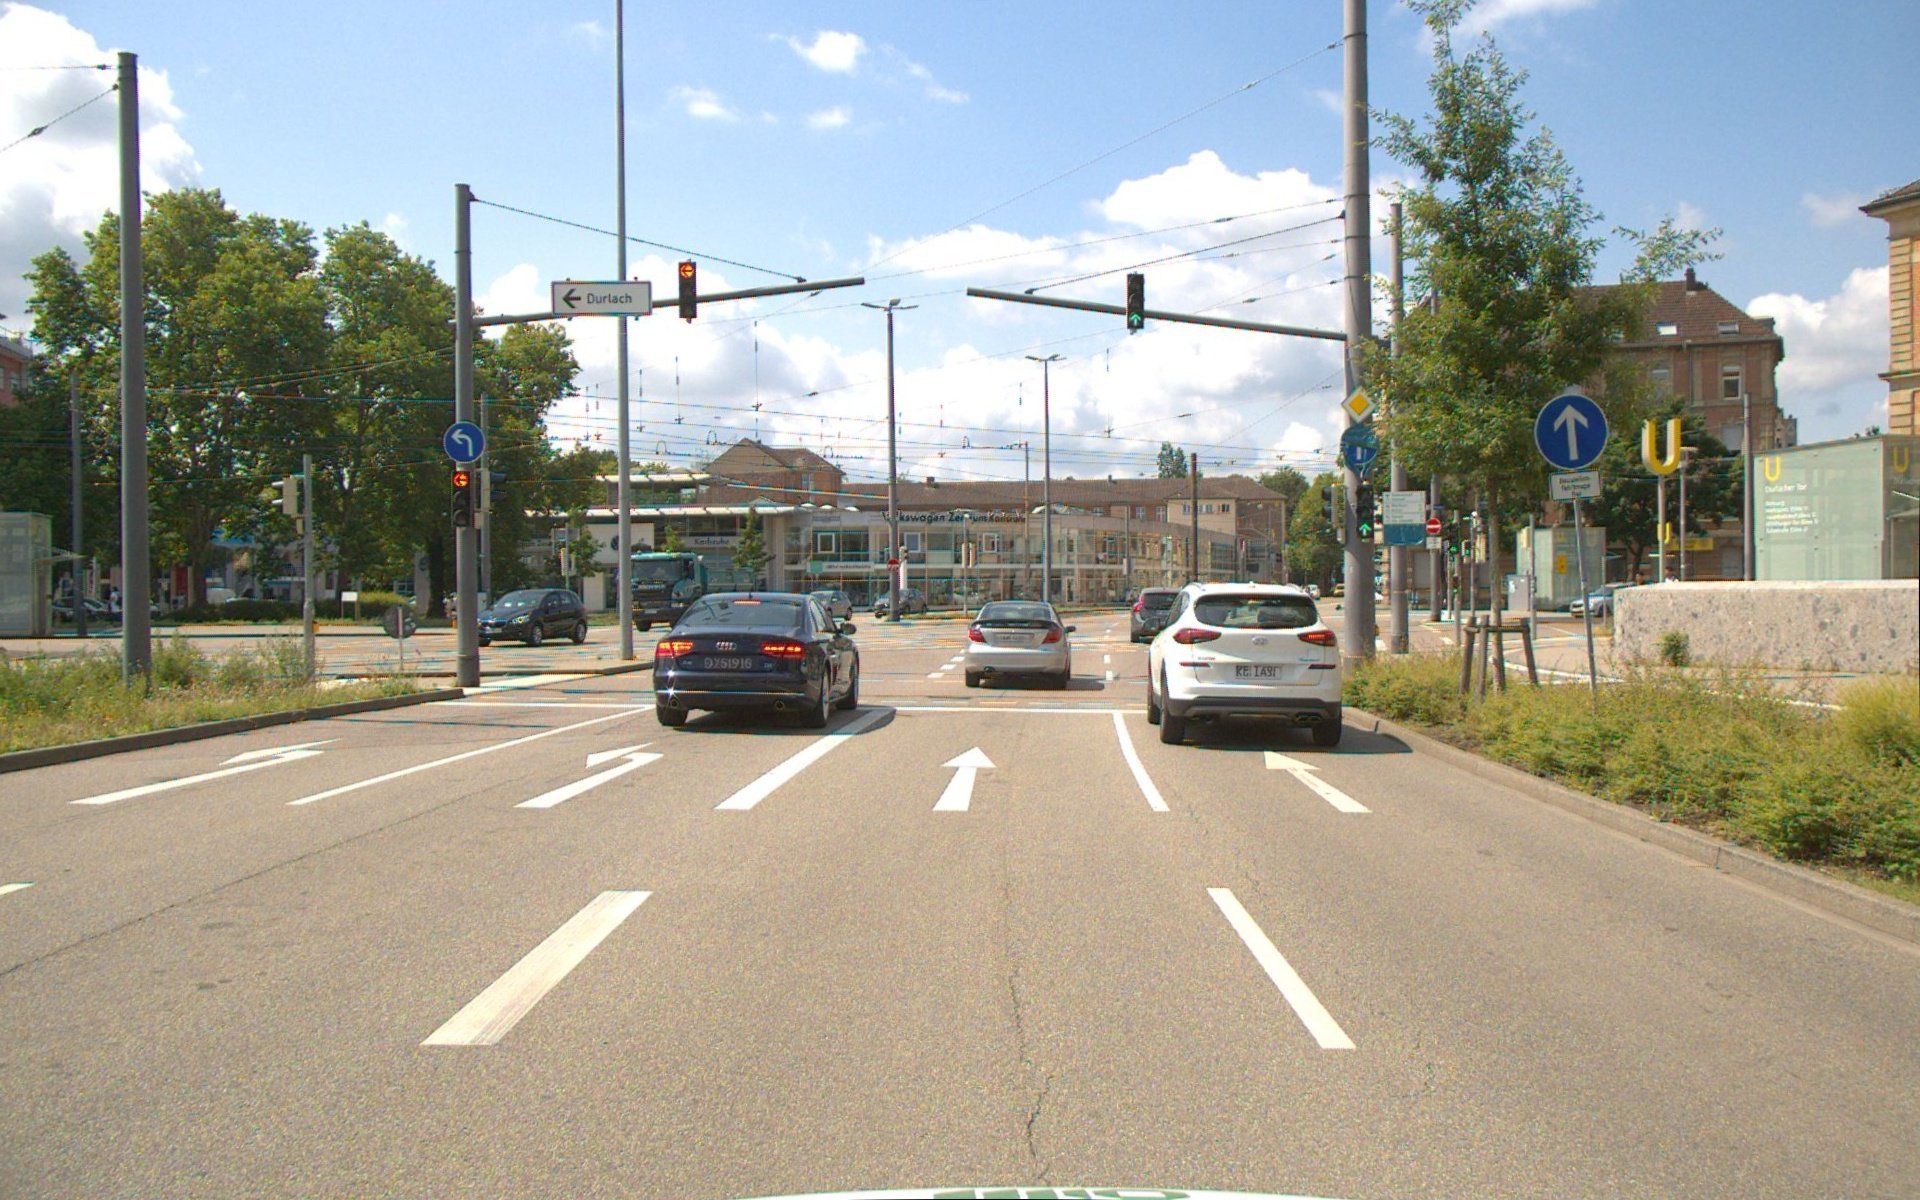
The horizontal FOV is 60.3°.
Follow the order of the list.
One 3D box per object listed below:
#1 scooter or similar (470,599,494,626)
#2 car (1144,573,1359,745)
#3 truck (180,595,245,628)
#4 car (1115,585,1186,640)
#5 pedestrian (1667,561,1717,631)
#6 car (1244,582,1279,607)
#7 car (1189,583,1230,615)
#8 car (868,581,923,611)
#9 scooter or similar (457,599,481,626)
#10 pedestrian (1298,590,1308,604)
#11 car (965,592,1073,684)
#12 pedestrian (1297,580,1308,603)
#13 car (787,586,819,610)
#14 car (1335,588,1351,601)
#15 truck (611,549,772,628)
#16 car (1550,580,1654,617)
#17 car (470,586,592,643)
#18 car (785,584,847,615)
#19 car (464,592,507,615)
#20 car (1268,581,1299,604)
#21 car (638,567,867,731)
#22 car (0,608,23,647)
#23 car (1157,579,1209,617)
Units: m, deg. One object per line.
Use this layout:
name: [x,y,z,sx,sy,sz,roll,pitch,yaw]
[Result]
scooter or similar: [-20.479,0.543,70.891,0.370,1.135,1.095,0,-1,20]
car: [3.087,0.559,18.302,1.842,1.670,4.234,0,0,3]
truck: [-50.253,0.734,111.253,1.765,2.157,4.782,-1,0,6]
car: [5.244,0.314,45.584,1.841,1.444,3.960,0,0,6]
pedestrian: [19.261,-0.089,43.530,0.748,1.782,0.854,-2,-1,-31]
car: [20.257,-0.375,111.055,1.841,1.670,3.959,0,0,17]
car: [13.796,-0.066,91.262,1.841,1.670,3.960,0,0,15]
car: [-3.423,-0.217,88.800,1.681,1.558,4.124,-1,0,16]
scooter or similar: [-21.114,0.532,71.142,0.370,1.135,1.095,0,-1,20]
pedestrian: [22.581,-0.177,109.000,0.513,0.922,1.562,0,-1,16]
car: [1.026,0.595,28.218,1.705,1.416,4.181,0,1,3]
pedestrian: [22.567,-0.567,109.006,0.677,1.483,0.680,0,-1,17]
car: [-11.367,-0.136,119.757,1.953,1.601,3.999,0,-1,-1]
car: [51.741,-0.767,223.511,1.841,1.722,3.959,0,0,17]
truck: [-10.397,-0.452,65.296,2.824,2.902,8.799,-1,0,16]
car: [27.592,-0.067,71.124,4.063,1.499,1.714,-1,0,-19]
car: [-11.950,0.372,46.365,1.618,1.494,4.157,-1,0,12]
car: [-6.860,-0.050,79.187,1.618,1.459,4.275,-1,0,15]
car: [-34.420,0.291,120.098,1.953,1.601,4.177,0,-1,-1]
car: [24.385,-0.560,124.557,1.841,1.670,3.959,0,0,17]
car: [-2.266,0.482,19.376,1.888,1.670,4.794,0,0,2]
car: [-43.568,1.173,72.424,4.033,1.694,1.862,1,-1,-14]
car: [10.233,-0.117,75.766,1.841,1.670,3.960,0,0,15]
